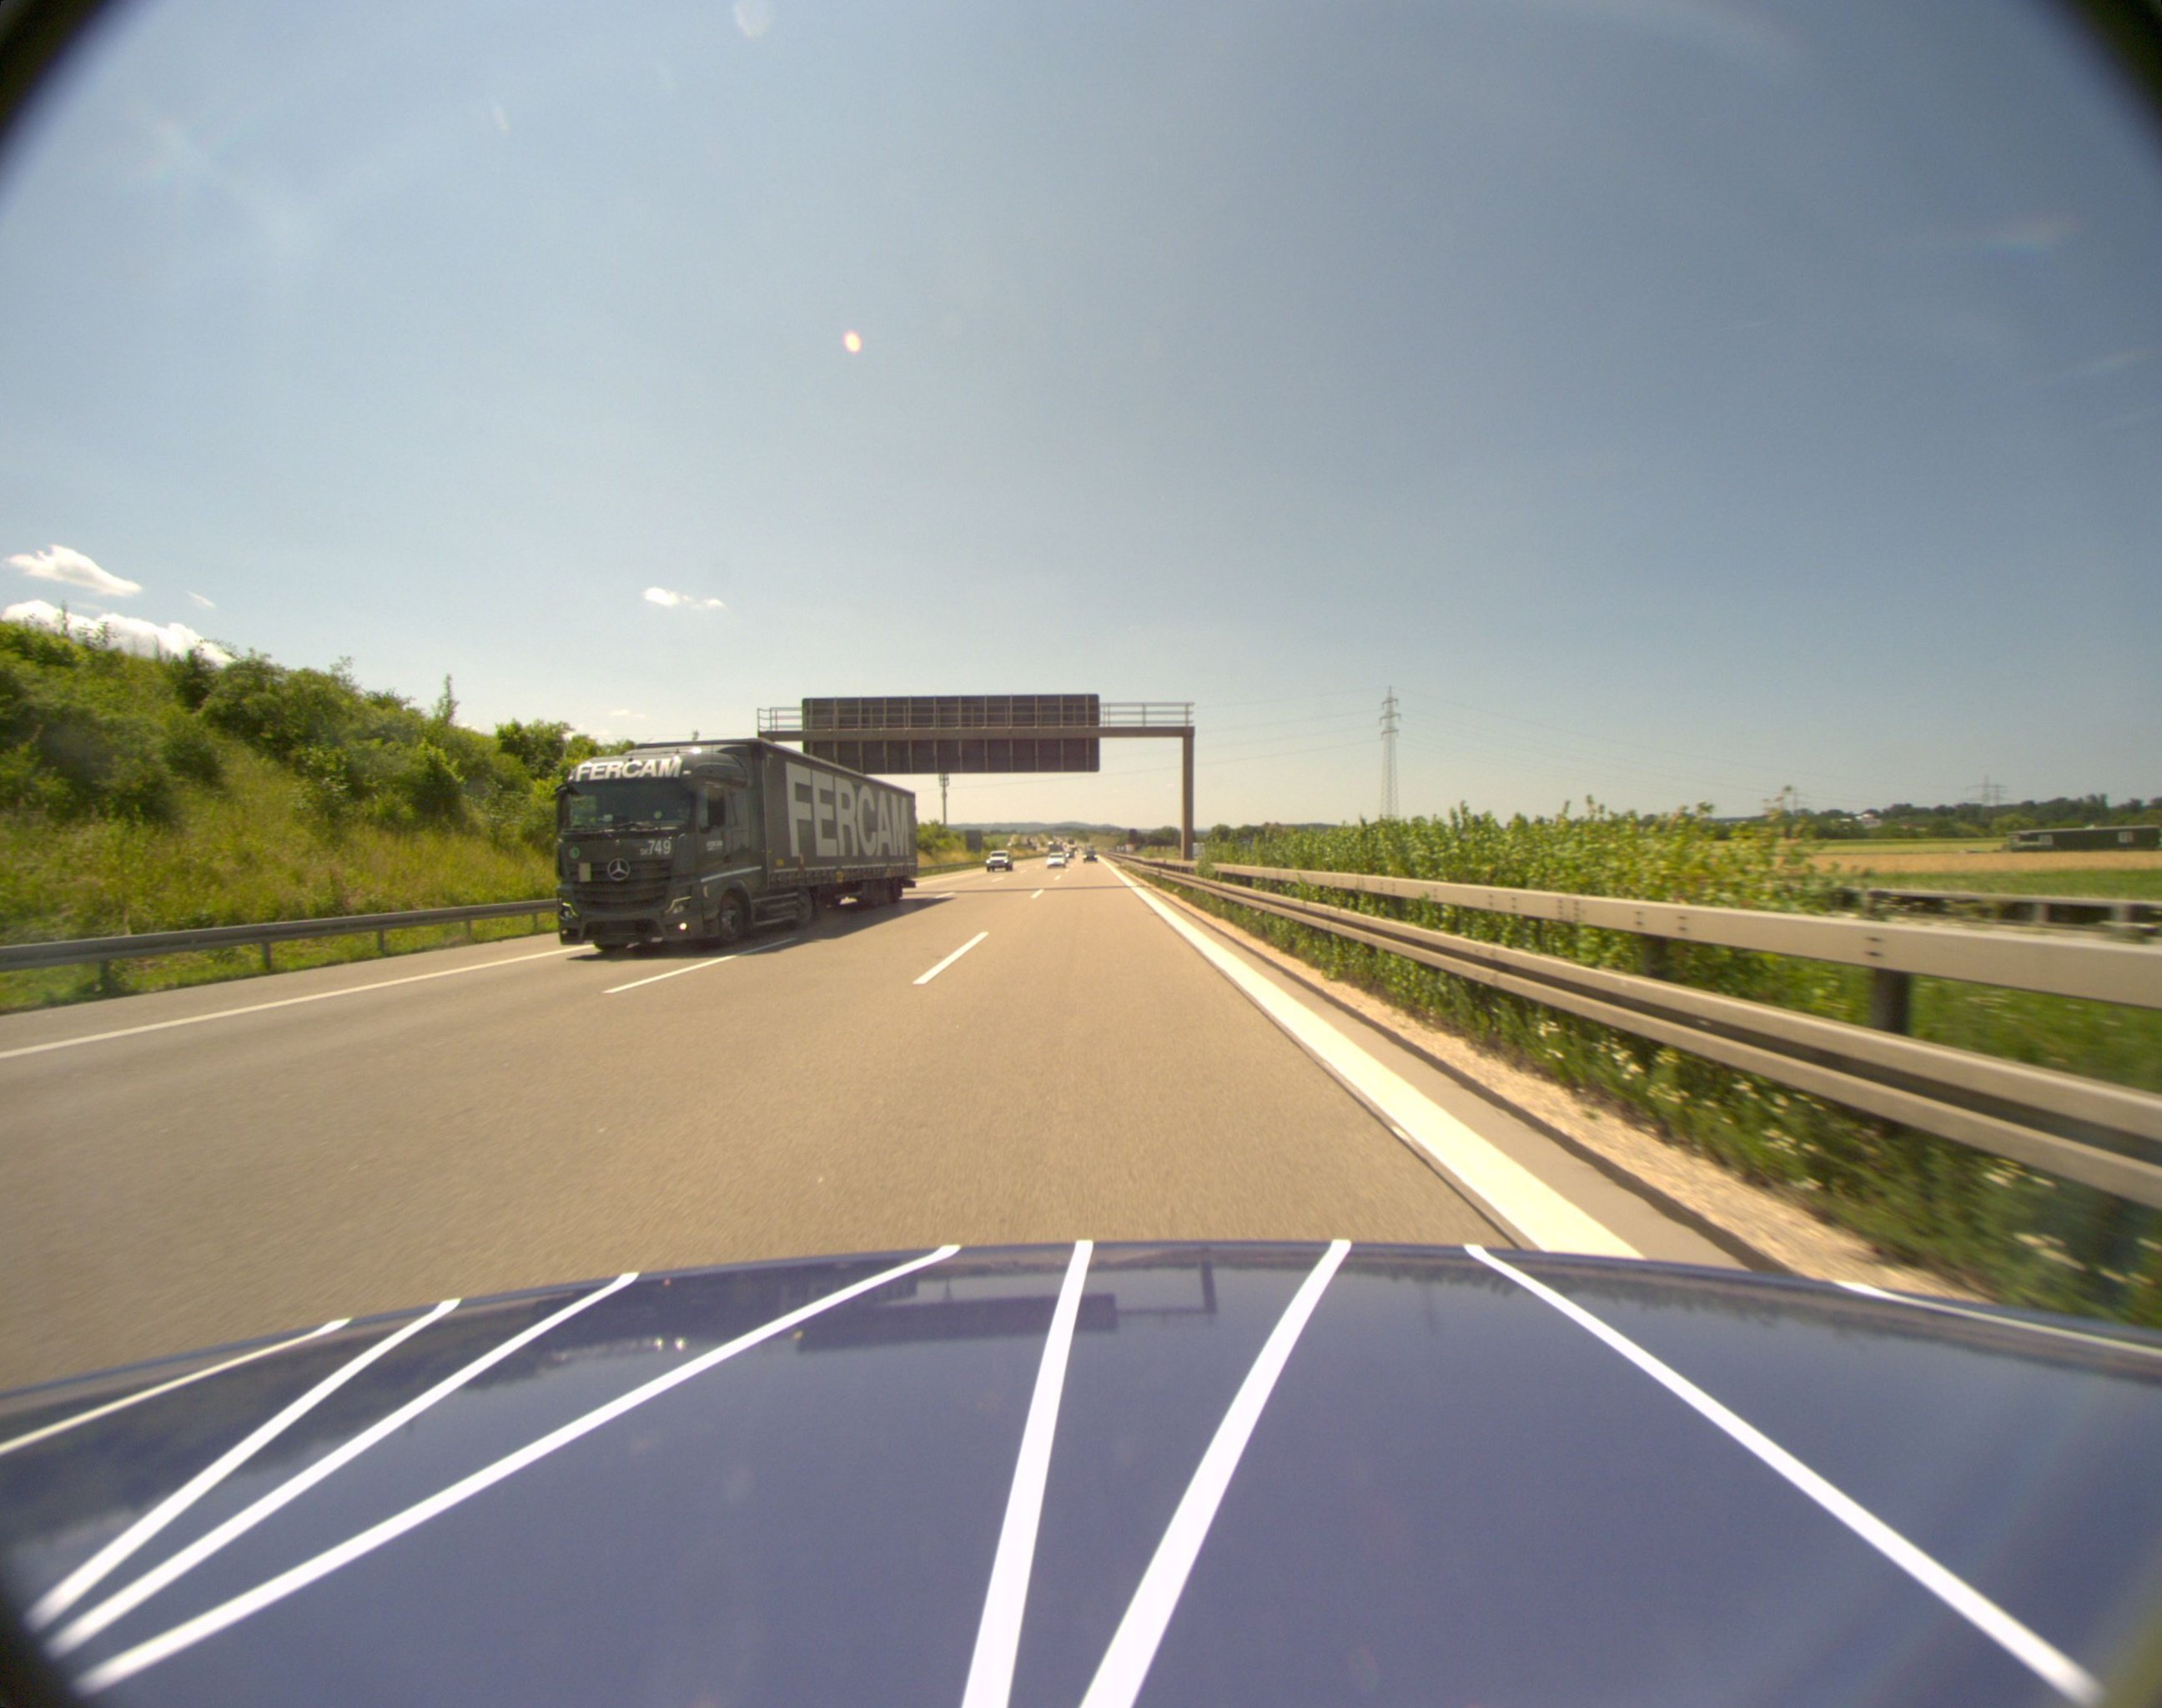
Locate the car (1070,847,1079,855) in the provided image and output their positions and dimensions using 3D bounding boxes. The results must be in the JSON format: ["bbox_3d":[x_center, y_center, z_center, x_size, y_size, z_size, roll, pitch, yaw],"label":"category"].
[{"bbox_3d":[-1.307,-0.552,154.326,1.751,1.559,3.999,-2,1,-1],"label":"car"}]

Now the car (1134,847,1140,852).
[{"bbox_3d":[17.606,-1.501,240.339,1.675,1.432,4.565,1,1,0],"label":"car"}]

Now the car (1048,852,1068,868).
[{"bbox_3d":[-2.276,0.613,76.403,1.780,1.425,4.690,-2,1,0],"label":"car"}]

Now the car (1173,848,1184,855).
[{"bbox_3d":[19.408,-0.460,151.410,1.577,1.299,4.041,0,1,1],"label":"car"}]

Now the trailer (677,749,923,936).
[{"bbox_3d":[-7.578,-0.353,23.103,2.732,4.131,11.806,-2,1,1],"label":"trailer"}]

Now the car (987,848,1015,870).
[{"bbox_3d":[-7.287,0.436,69.405,2.039,1.794,4.250,-2,1,0],"label":"car"}]

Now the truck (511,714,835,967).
[{"bbox_3d":[-7.718,-0.263,15.749,2.759,3.997,6.787,-2,1,1],"label":"truck"}]

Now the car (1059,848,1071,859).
[{"bbox_3d":[-2.252,-0.050,105.921,1.634,1.381,3.999,-2,1,-1],"label":"car"}]

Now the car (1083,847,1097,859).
[{"bbox_3d":[1.219,-0.139,101.660,1.751,1.439,3.999,-2,1,-1],"label":"car"}]

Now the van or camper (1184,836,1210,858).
[{"bbox_3d":[14.233,-0.894,93.669,2.233,2.494,6.596,-2,1,1],"label":"van or camper"}]
